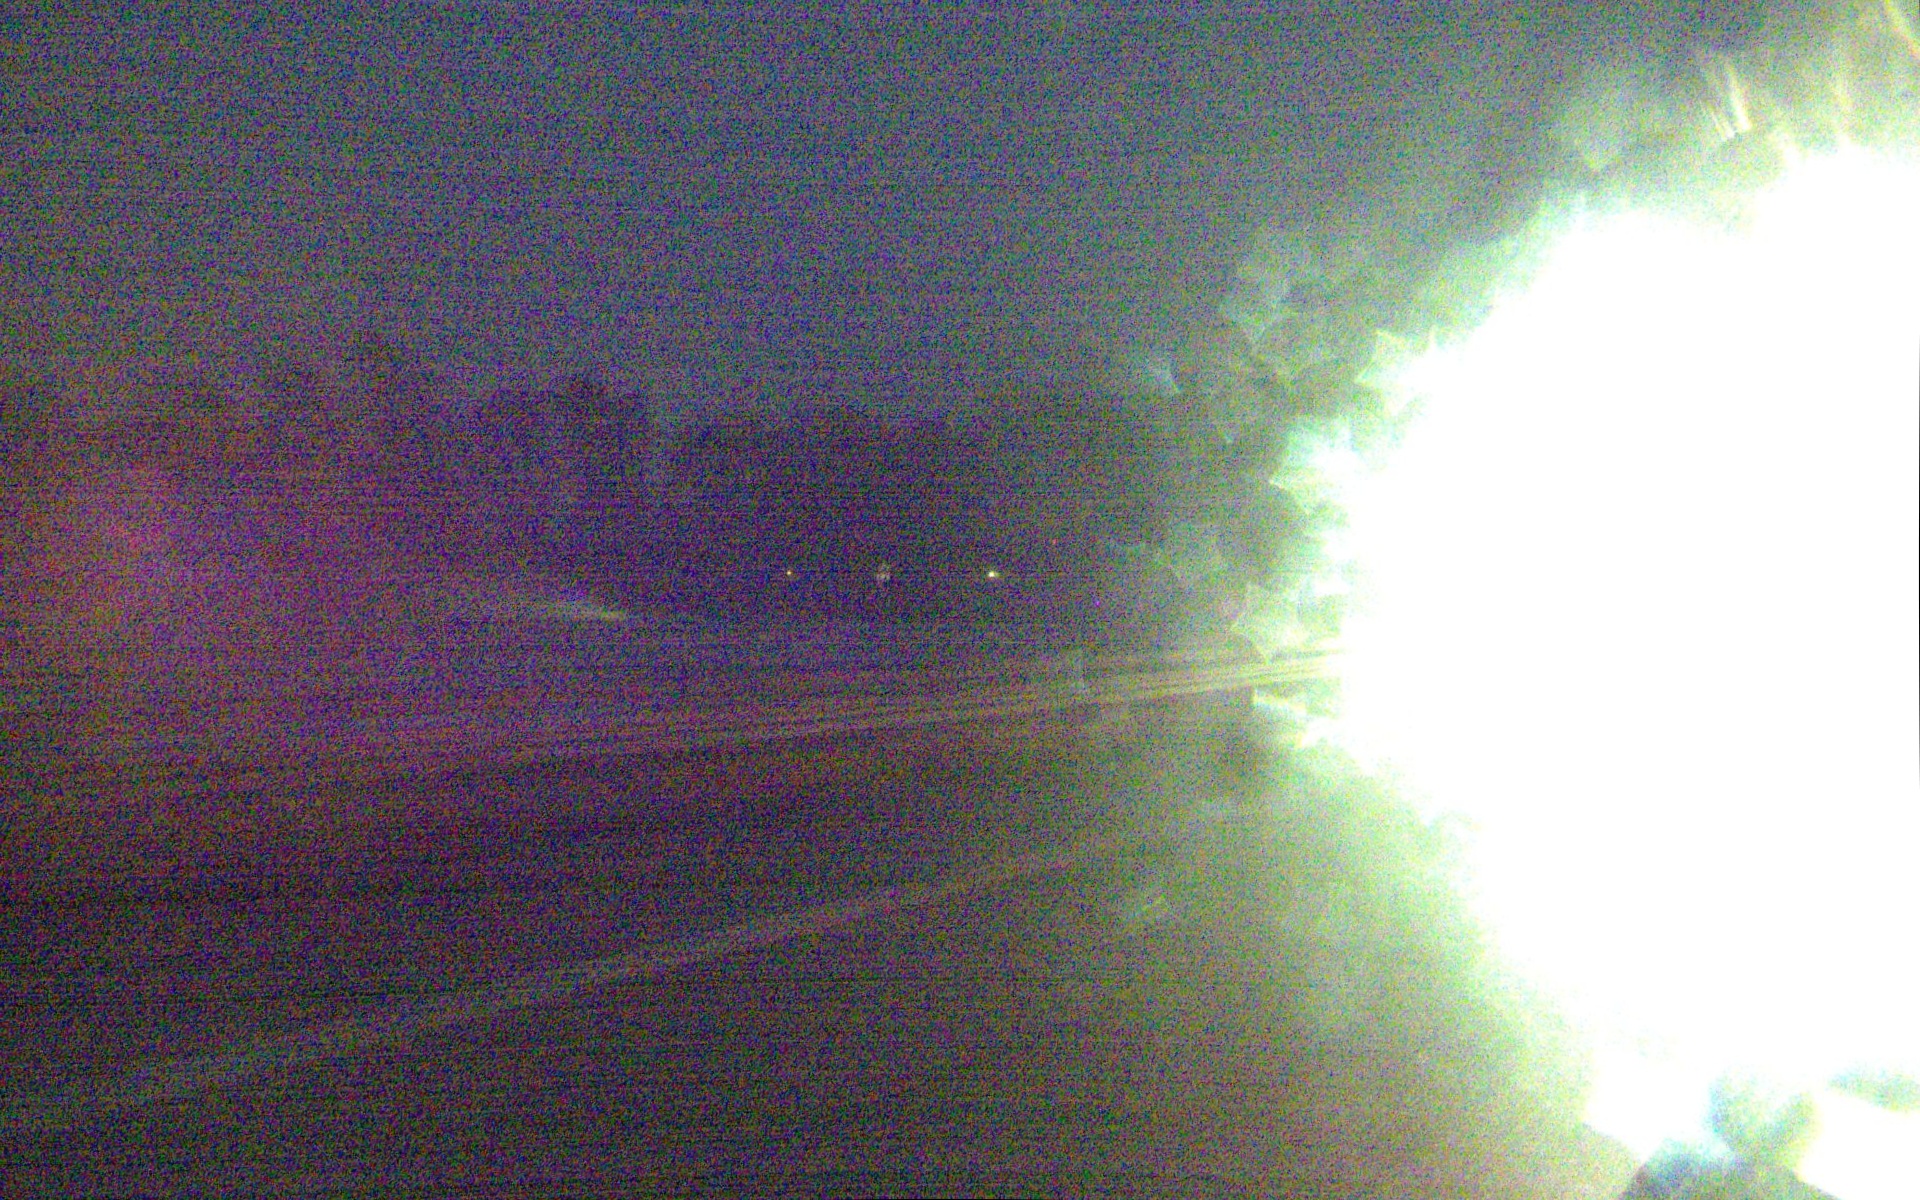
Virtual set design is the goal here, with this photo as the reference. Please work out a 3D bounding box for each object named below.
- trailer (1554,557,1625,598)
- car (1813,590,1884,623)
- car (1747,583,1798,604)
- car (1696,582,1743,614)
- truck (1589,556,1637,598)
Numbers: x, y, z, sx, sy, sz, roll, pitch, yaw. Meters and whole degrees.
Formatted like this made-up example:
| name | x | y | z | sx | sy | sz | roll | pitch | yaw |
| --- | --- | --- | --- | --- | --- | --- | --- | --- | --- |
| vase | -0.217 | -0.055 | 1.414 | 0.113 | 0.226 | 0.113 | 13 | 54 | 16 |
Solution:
| name | x | y | z | sx | sy | sz | roll | pitch | yaw |
| --- | --- | --- | --- | --- | --- | --- | --- | --- | --- |
| trailer | 72.297 | -2.509 | 116.624 | 2.501 | 4.391 | 13.656 | -1 | 0 | 13 |
| car | 38.046 | 0.254 | 43.425 | 1.749 | 1.328 | 4.036 | 1 | 1 | 34 |
| car | 68.276 | -0.565 | 85.139 | 1.763 | 1.671 | 4.036 | 0 | 1 | 14 |
| car | 43.464 | -0.124 | 58.010 | 1.728 | 1.705 | 4.073 | -2 | -1 | 32 |
| truck | 70.738 | -2.431 | 109.759 | 2.502 | 4.391 | 5.542 | -1 | 0 | 13 |
